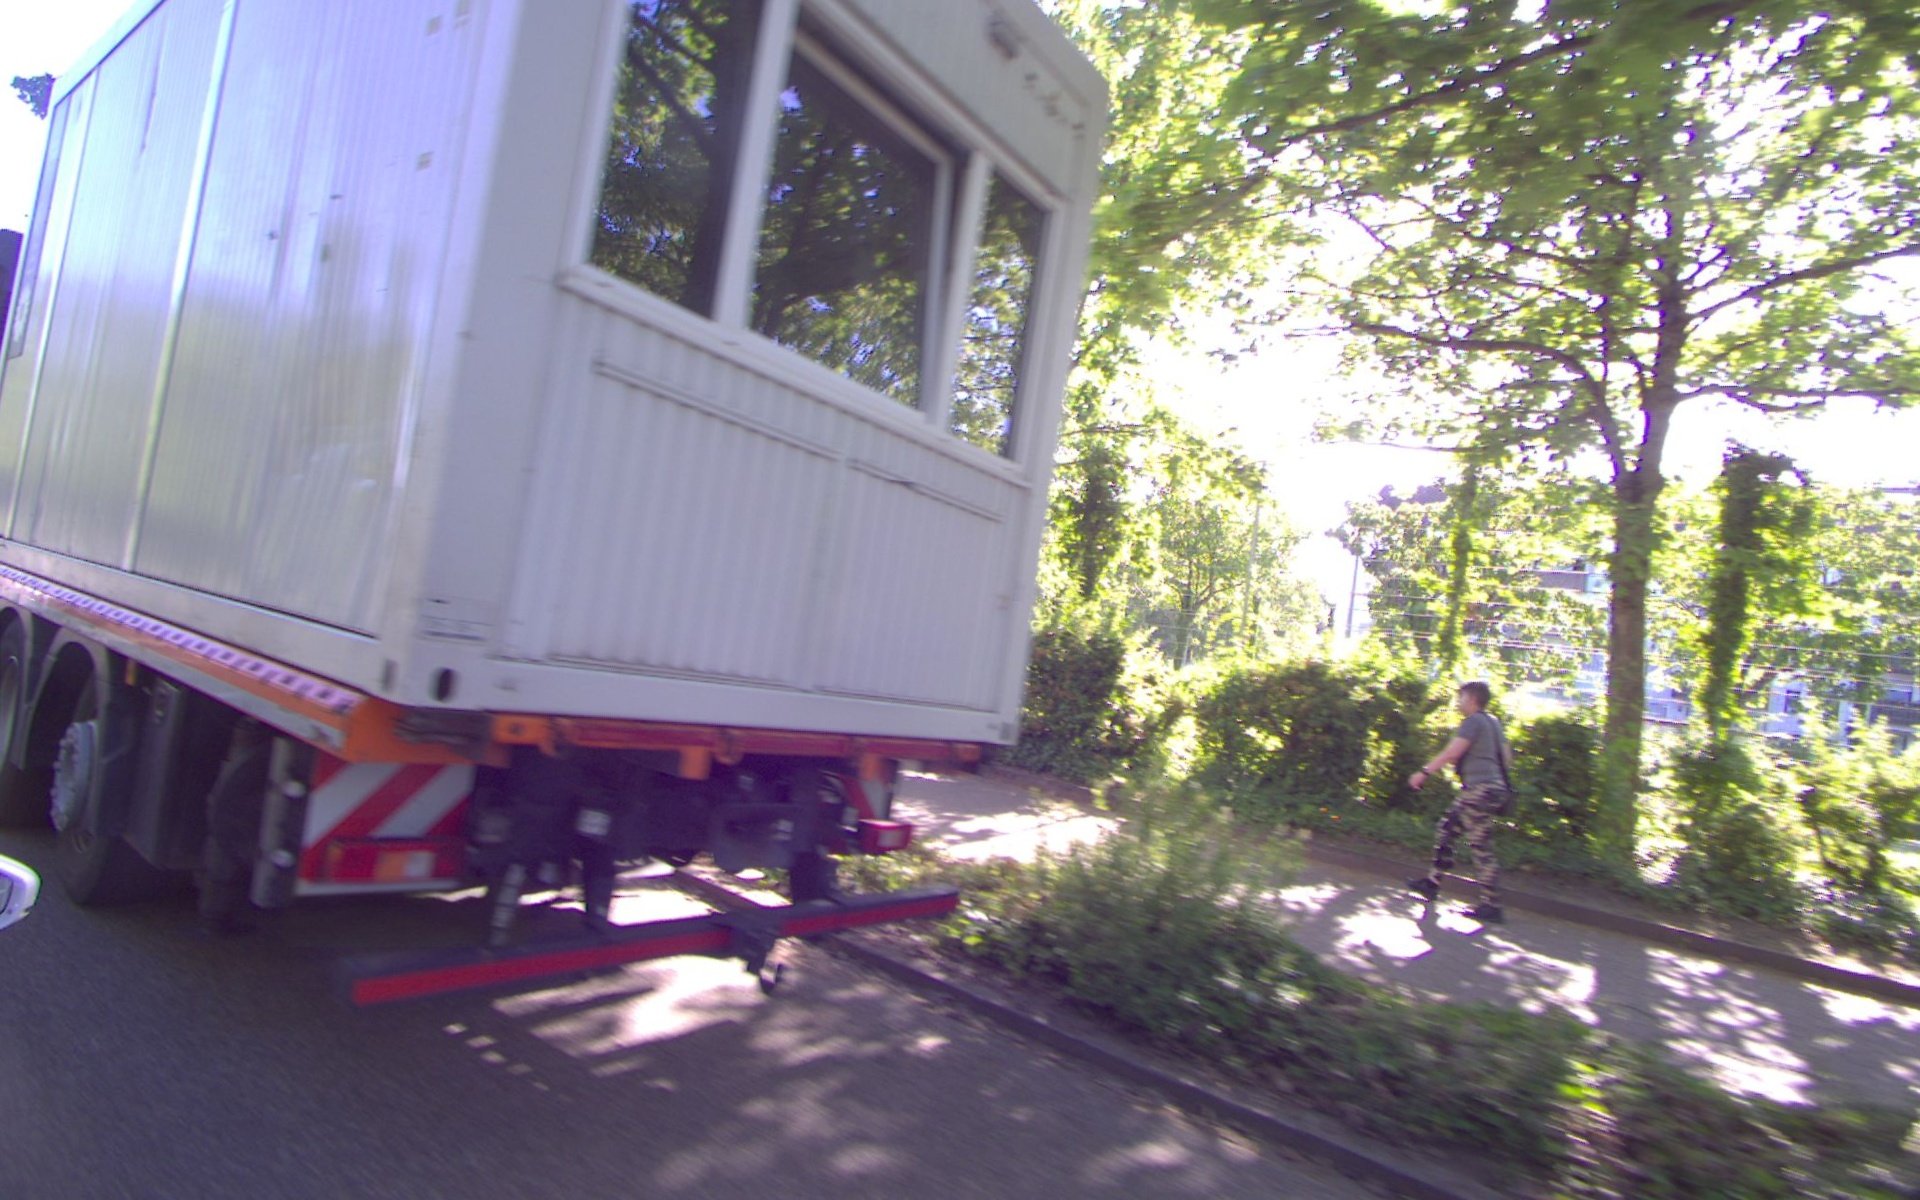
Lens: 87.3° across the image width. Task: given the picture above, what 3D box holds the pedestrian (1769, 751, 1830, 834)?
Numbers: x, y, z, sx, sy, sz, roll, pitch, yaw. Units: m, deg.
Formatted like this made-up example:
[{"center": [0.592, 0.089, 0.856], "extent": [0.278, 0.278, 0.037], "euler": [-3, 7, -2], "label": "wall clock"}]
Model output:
[{"center": [16.159, 3.699, 19.367], "extent": [0.622, 1.436, 0.506], "euler": [9, -3, -7], "label": "pedestrian"}]

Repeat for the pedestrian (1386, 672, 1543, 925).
[{"center": [3.601, 1.386, 7.185], "extent": [0.570, 1.626, 0.663], "euler": [9, -2, -42], "label": "pedestrian"}]

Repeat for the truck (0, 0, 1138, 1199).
[{"center": [-4.307, -0.922, 6.437], "extent": [10.195, 4.039, 2.776], "euler": [7, -3, 39], "label": "truck"}]

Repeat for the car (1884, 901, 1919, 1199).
[{"center": [3.194, 1.274, 0.407], "extent": [3.937, 1.435, 1.643], "euler": [7, -3, 36], "label": "car"}]
